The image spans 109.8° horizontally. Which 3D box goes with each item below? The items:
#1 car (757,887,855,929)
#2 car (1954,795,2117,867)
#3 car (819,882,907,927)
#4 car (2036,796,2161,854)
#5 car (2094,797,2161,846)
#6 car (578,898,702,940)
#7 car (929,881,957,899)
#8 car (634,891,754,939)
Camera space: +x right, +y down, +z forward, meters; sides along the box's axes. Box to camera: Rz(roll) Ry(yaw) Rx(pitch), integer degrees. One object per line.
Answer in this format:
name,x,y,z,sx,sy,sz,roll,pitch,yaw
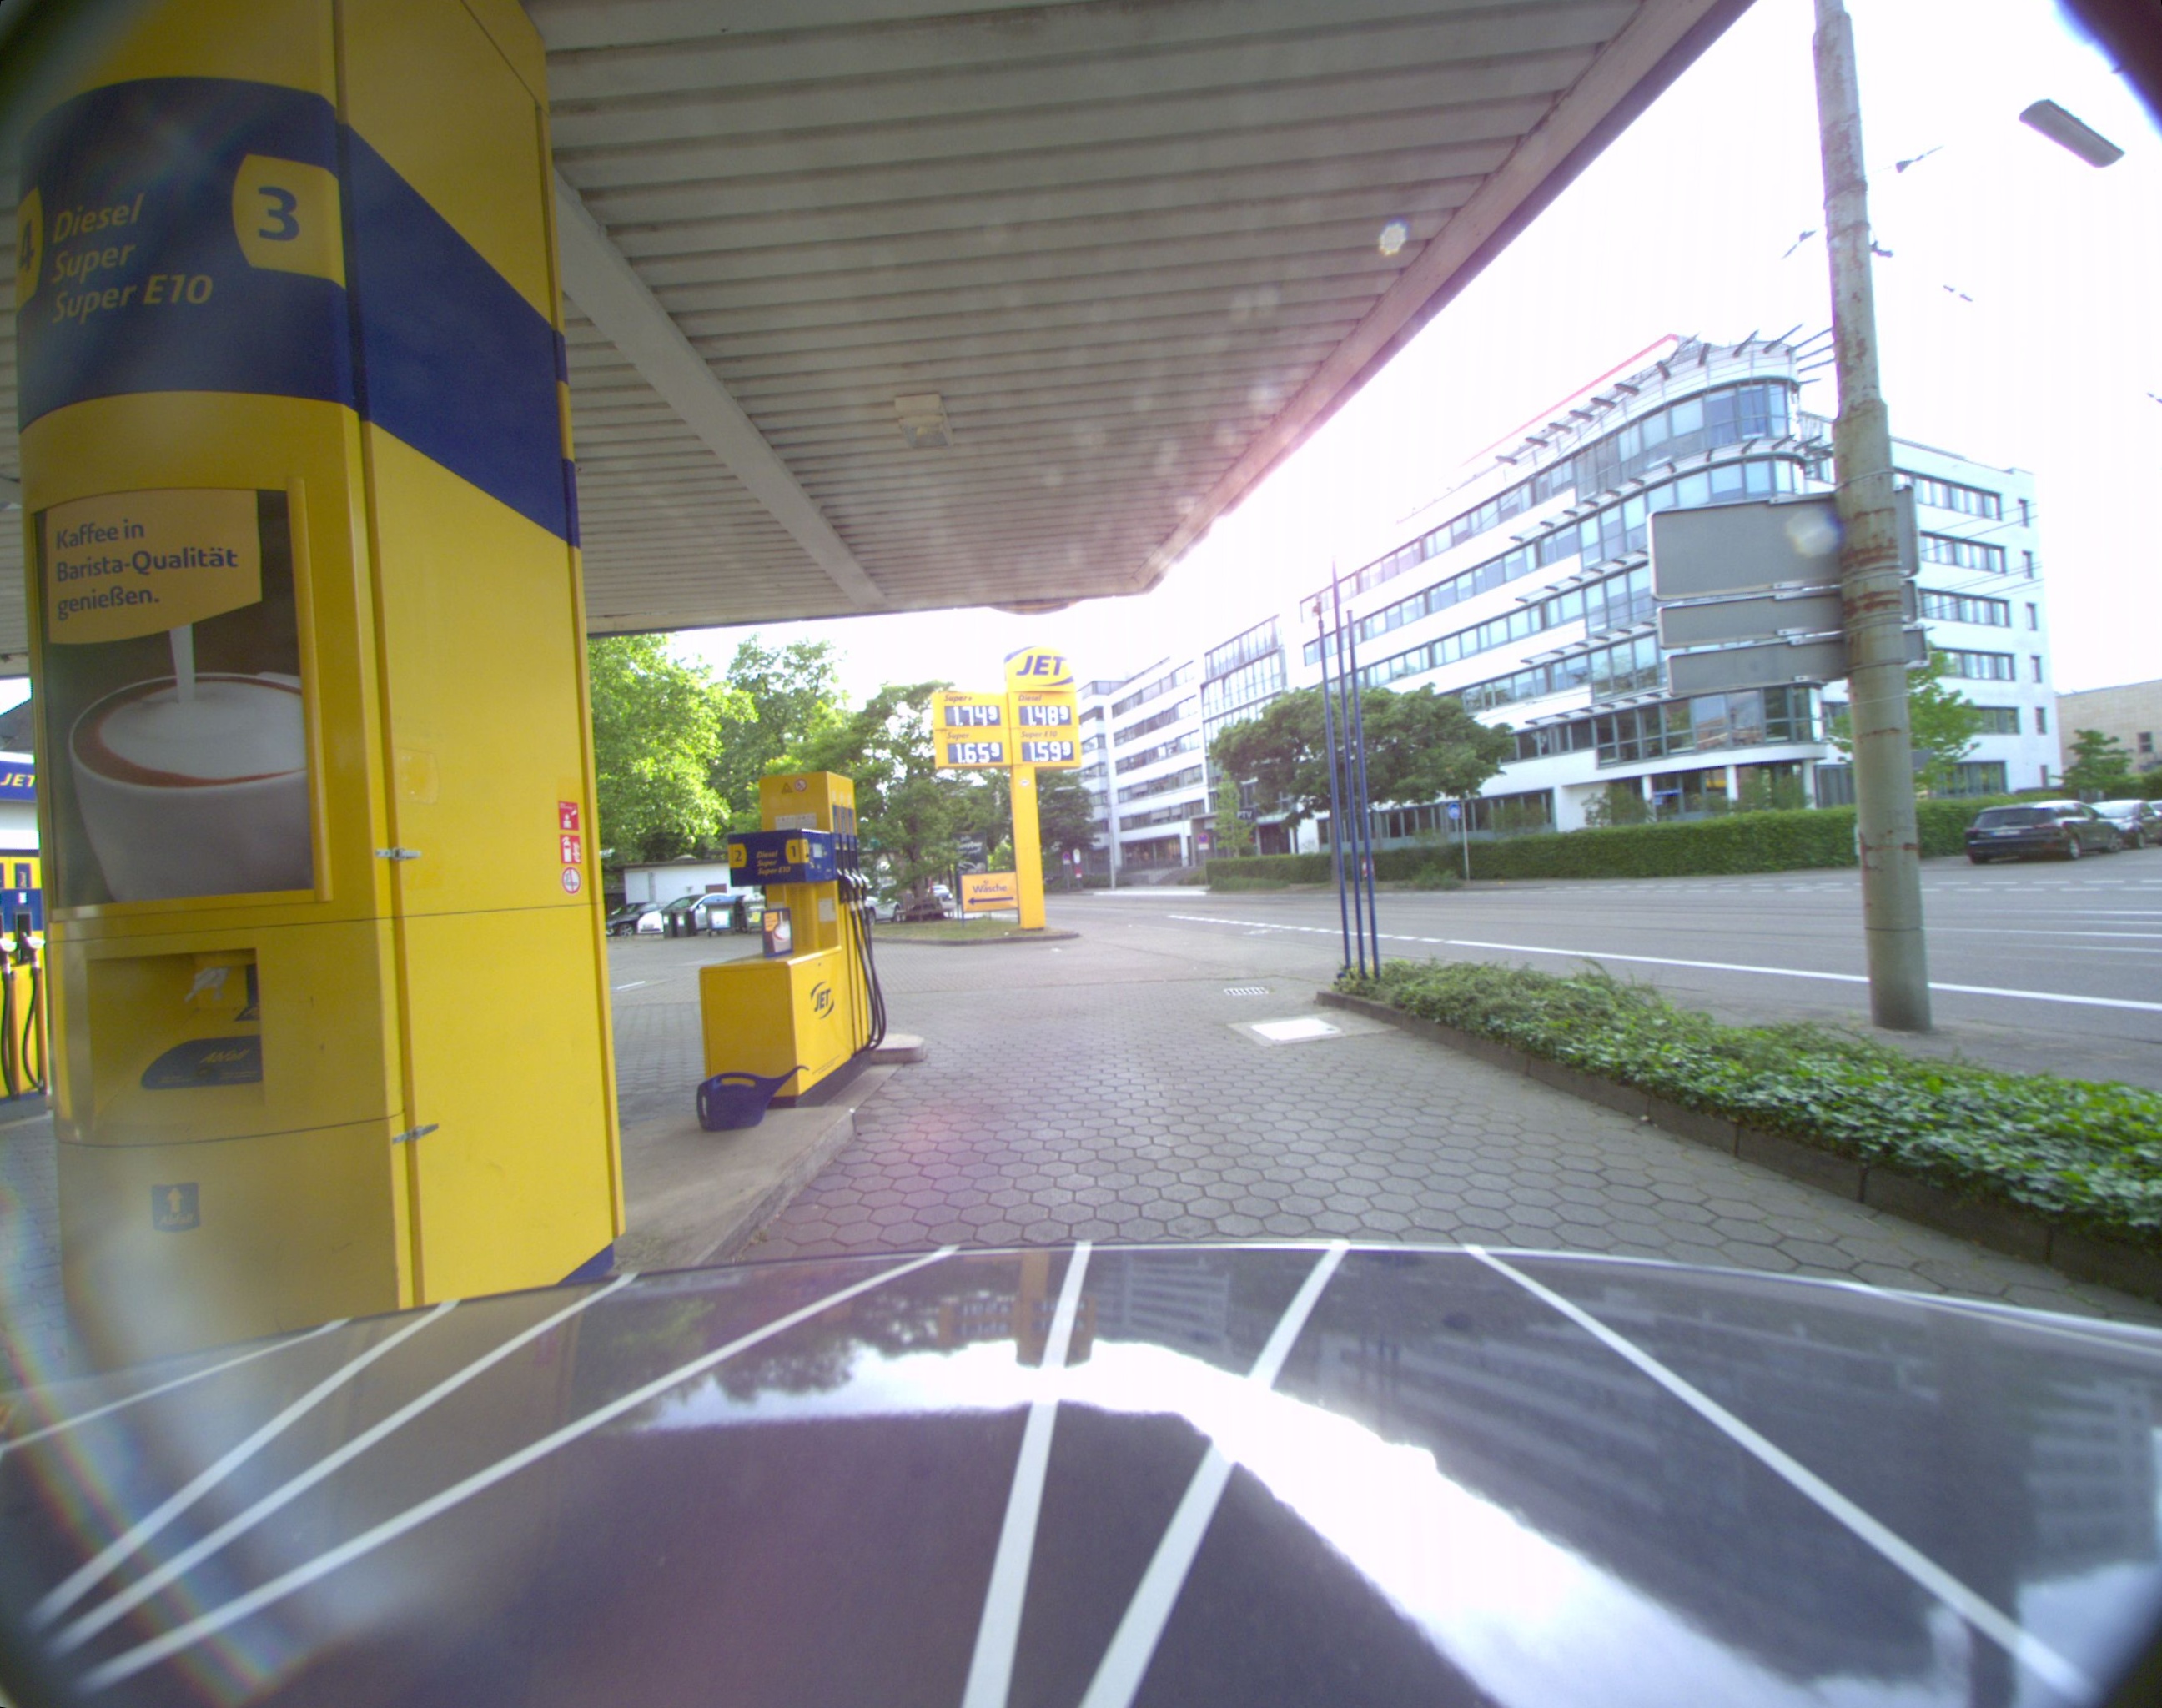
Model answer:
car,-11.655,2.271,32.496,1.771,1.591,4.400,-4,-4,13
car,27.274,-0.662,21.694,4.296,1.681,2.010,-4,-1,-27
car,-8.636,2.006,30.505,1.772,1.591,4.398,-4,-4,6
car,32.545,-0.939,24.096,4.296,1.530,1.945,-4,-1,-27
car,37.127,-1.196,26.148,4.296,1.509,1.945,-4,-1,-27
car,-17.794,2.595,30.911,1.771,1.367,4.398,-2,-1,14
car,-12.623,3.283,69.409,1.691,1.424,3.422,-4,-1,-23
car,-15.292,2.369,30.317,1.771,1.591,4.398,-2,-1,14
